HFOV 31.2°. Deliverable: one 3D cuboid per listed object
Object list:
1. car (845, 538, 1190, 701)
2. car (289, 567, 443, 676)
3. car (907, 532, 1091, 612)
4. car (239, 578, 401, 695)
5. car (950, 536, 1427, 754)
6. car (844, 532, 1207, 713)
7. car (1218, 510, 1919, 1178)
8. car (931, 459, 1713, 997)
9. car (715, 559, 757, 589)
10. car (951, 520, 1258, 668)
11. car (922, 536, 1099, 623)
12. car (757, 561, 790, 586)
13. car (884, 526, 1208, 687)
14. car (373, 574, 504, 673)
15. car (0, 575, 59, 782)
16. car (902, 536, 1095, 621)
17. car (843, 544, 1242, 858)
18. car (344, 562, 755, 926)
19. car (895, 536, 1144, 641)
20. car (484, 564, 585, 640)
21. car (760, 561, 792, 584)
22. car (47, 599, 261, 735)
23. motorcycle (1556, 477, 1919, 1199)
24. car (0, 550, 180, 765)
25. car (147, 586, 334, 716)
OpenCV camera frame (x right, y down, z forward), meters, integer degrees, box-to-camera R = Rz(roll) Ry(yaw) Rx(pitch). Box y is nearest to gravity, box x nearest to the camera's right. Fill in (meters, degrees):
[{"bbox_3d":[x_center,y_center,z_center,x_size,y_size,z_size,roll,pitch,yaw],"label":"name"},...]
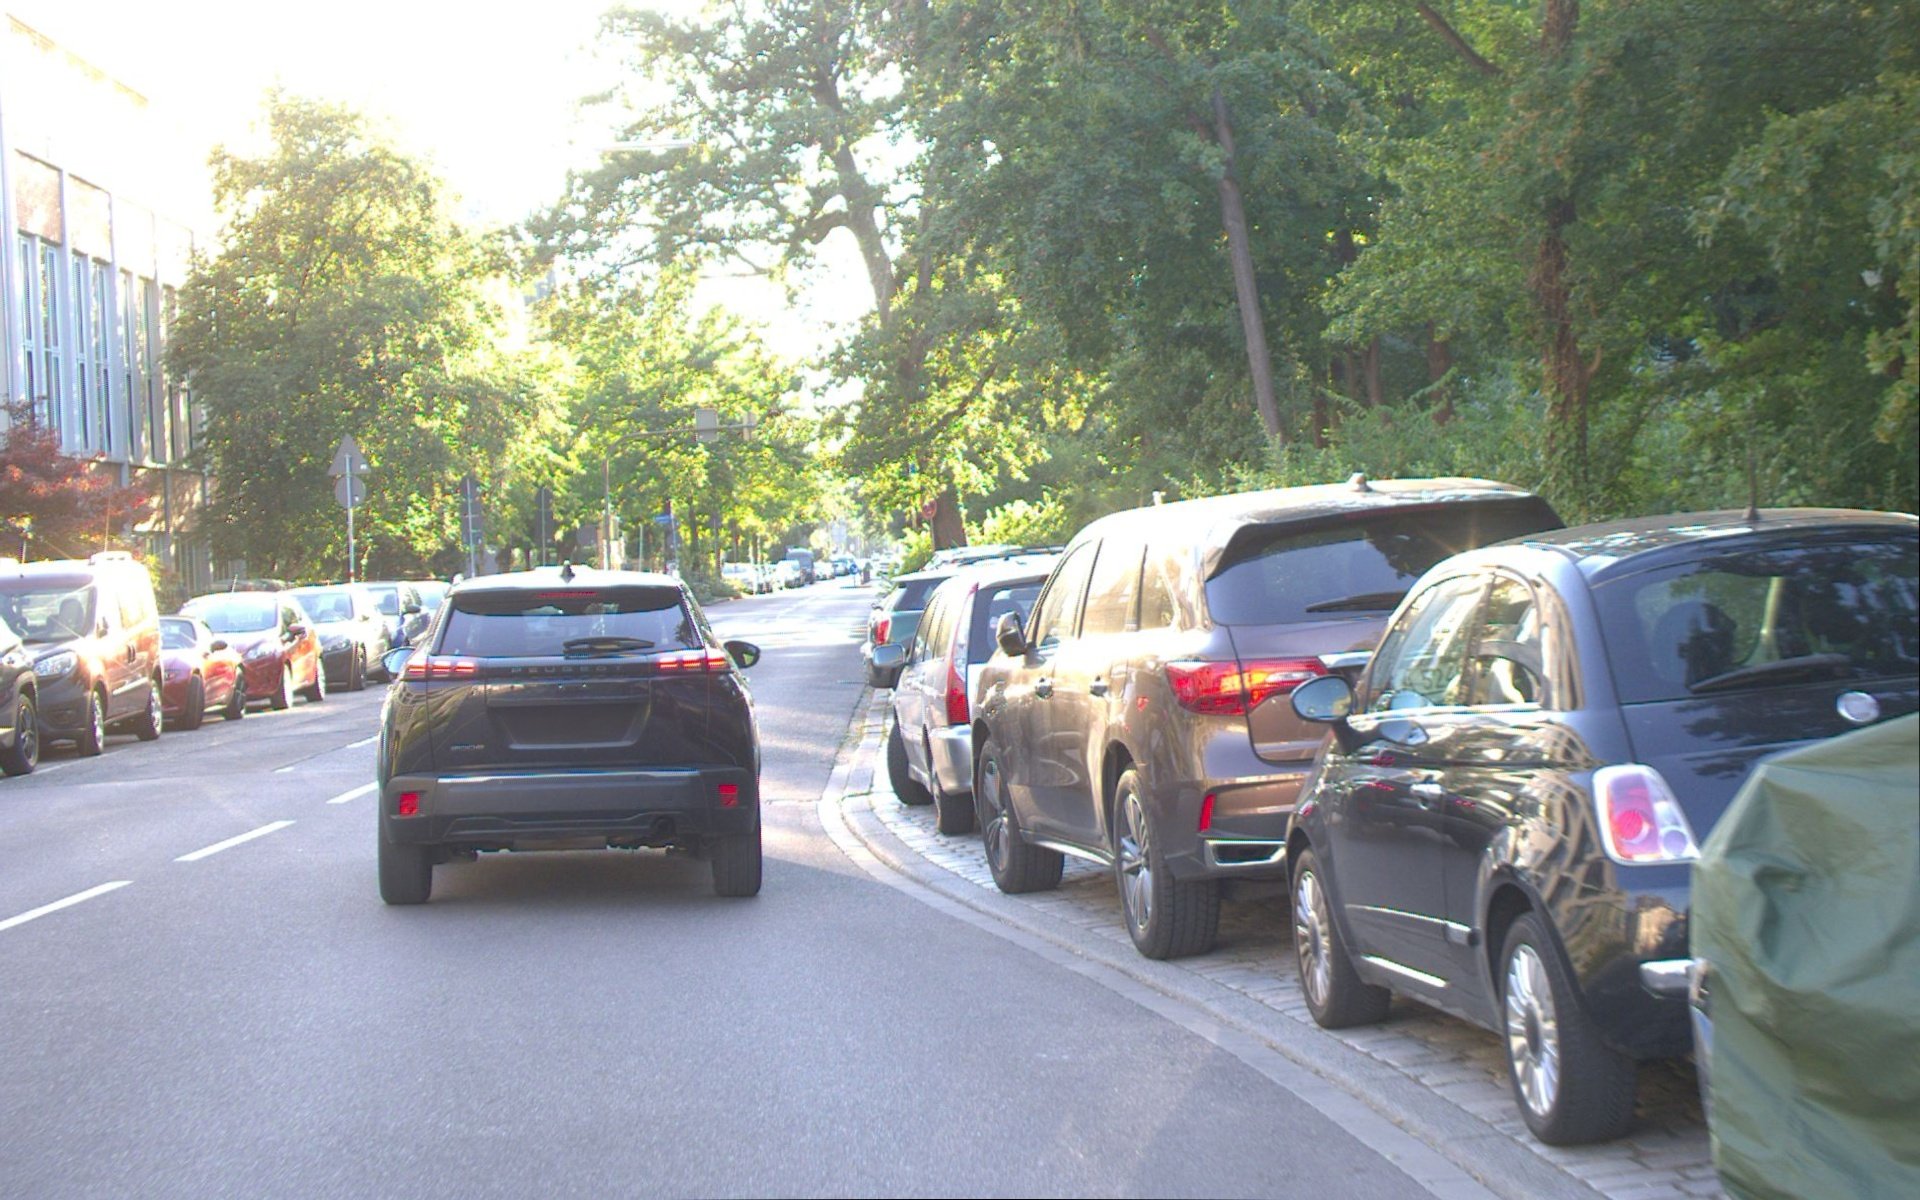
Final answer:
[{"bbox_3d":[0.603,0.197,38.706,3.666,1.440,1.735,-6,1,-2],"label":"car"},{"bbox_3d":[-9.319,0.305,54.187,1.598,1.502,3.787,-4,1,1],"label":"car"},{"bbox_3d":[0.929,-0.661,80.273,4.171,1.704,1.867,-2,1,4],"label":"car"},{"bbox_3d":[-9.165,0.489,49.490,1.598,1.450,4.055,-4,1,-2],"label":"car"},{"bbox_3d":[1.769,0.334,27.409,3.627,1.535,1.672,-2,1,0],"label":"car"},{"bbox_3d":[0.649,0.212,36.326,3.610,1.520,1.672,-6,1,-2],"label":"car"},{"bbox_3d":[1.916,0.528,9.681,1.619,1.481,3.420,-3,1,-8],"label":"car"},{"bbox_3d":[1.248,0.414,14.150,1.921,1.742,4.667,-3,1,-10],"label":"car"},{"bbox_3d":[-10.771,-1.252,165.267,1.810,1.349,4.001,-3,1,-6],"label":"car"},{"bbox_3d":[1.816,-0.078,44.055,3.725,1.493,1.820,-6,0,0],"label":"car"},{"bbox_3d":[1.058,-0.435,73.058,3.588,1.561,1.818,-4,0,-1],"label":"car"},{"bbox_3d":[-11.123,-1.601,205.354,1.810,1.349,3.980,-3,1,-4],"label":"car"},{"bbox_3d":[0.998,0.059,41.388,3.666,1.547,1.735,-6,1,-2],"label":"car"},{"bbox_3d":[-8.924,0.369,59.092,1.601,1.488,3.772,-4,1,0],"label":"car"},{"bbox_3d":[-8.777,0.718,28.009,1.742,1.670,4.417,-4,1,-2],"label":"car"},{"bbox_3d":[0.821,-0.478,75.536,4.122,1.661,1.723,-3,1,0],"label":"car"},{"bbox_3d":[0.368,0.510,20.216,1.650,1.562,4.302,-3,1,-7],"label":"car"},{"bbox_3d":[-1.914,0.612,16.818,1.768,1.563,3.381,-1,1,-4],"label":"car"},{"bbox_3d":[1.061,-0.213,62.230,4.338,1.470,1.742,-5,2,0],"label":"car"},{"bbox_3d":[-9.421,0.018,76.355,1.671,1.488,4.061,-4,1,0],"label":"car"},{"bbox_3d":[-11.546,-1.729,215.410,1.810,1.349,4.001,-3,1,-4],"label":"car"},{"bbox_3d":[-8.970,0.716,38.526,1.556,1.275,3.733,-4,1,-2],"label":"car"},{"bbox_3d":[2.363,0.522,6.117,2.295,1.539,1.038,-2,1,28],"label":"motorcycle"},{"bbox_3d":[-8.981,0.525,33.478,1.807,1.883,4.239,-4,1,-2],"label":"car"},{"bbox_3d":[-8.974,0.603,43.131,1.598,1.450,3.862,-3,1,-2],"label":"car"}]
